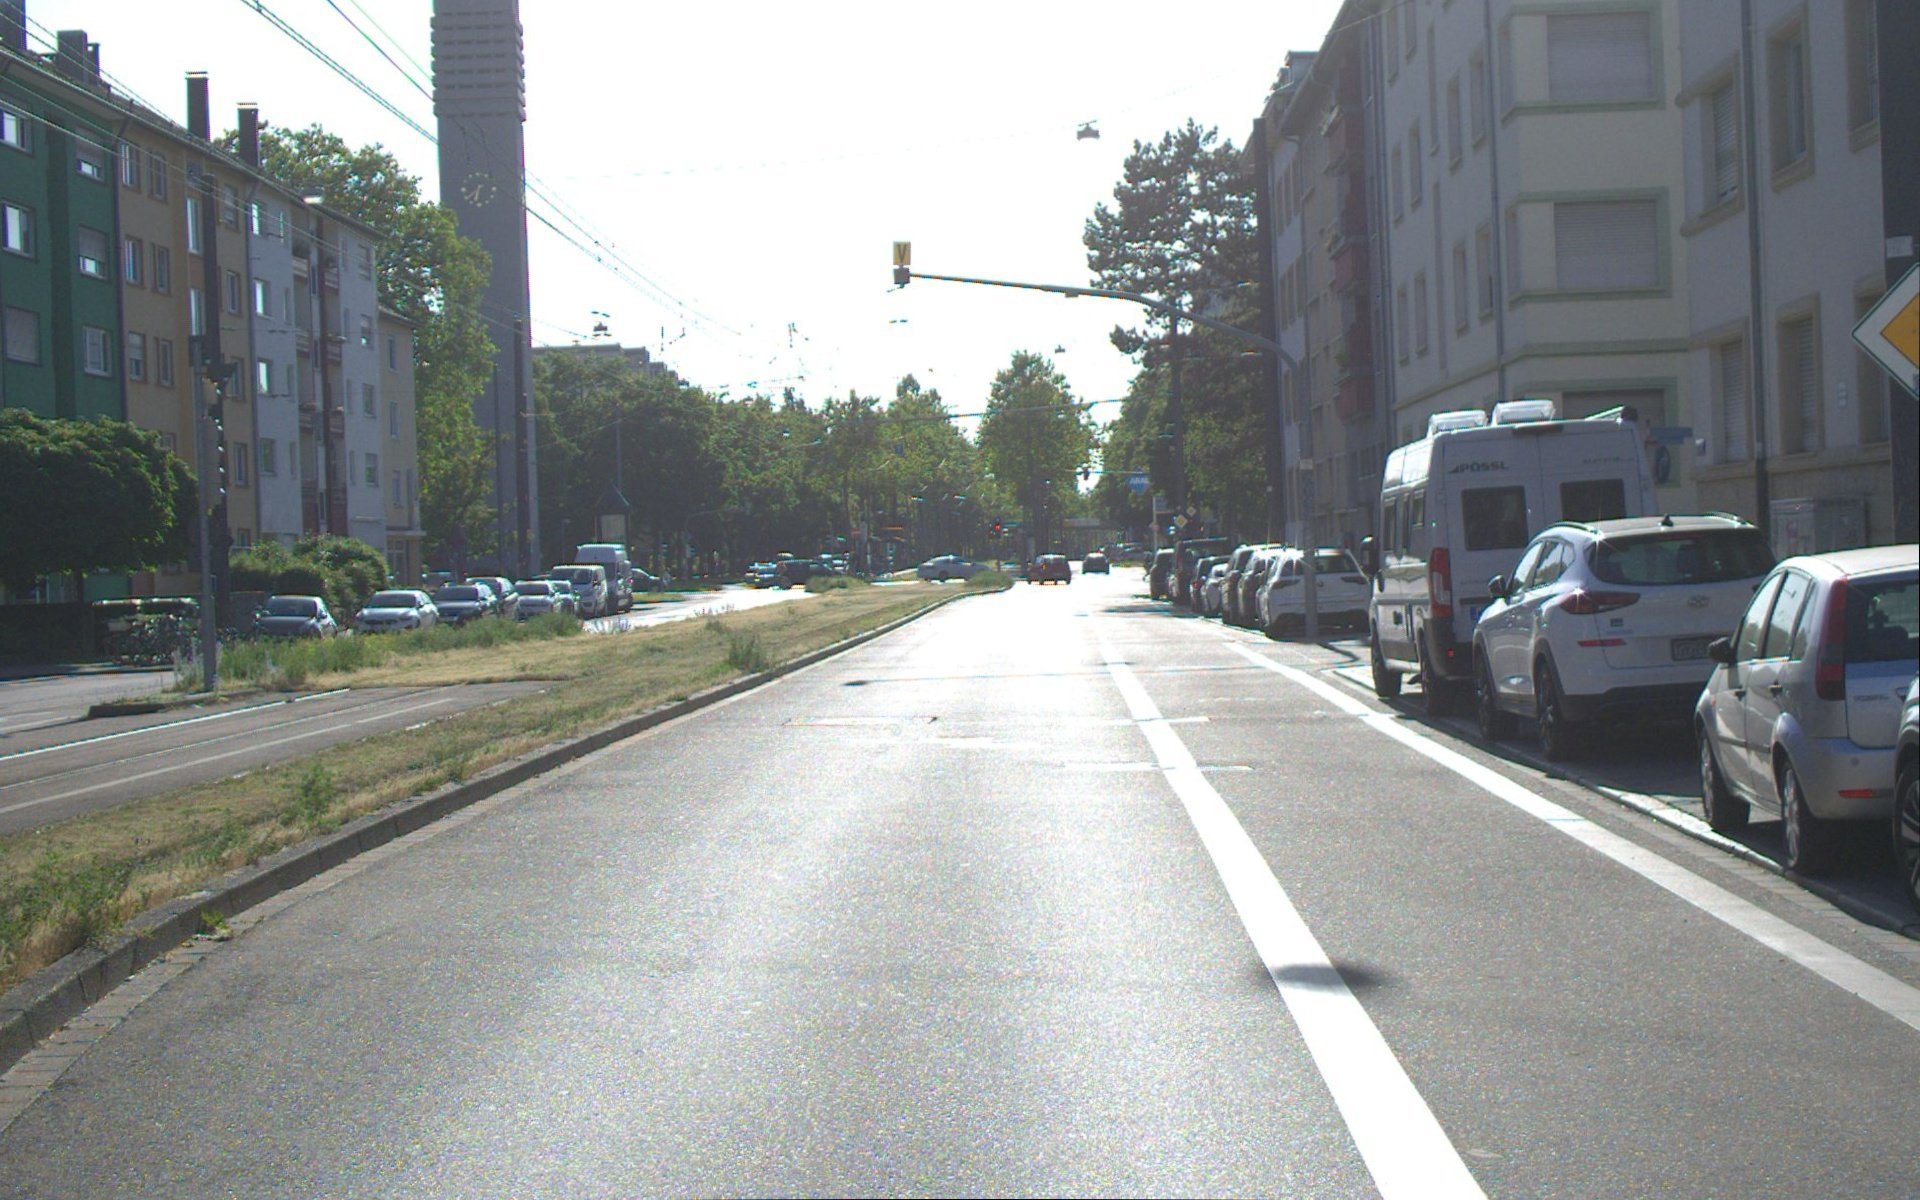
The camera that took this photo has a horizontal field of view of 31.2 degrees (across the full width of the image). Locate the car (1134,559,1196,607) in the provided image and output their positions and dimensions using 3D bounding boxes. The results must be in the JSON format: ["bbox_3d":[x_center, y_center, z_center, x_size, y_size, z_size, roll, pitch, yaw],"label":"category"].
[{"bbox_3d":[7.090,-0.572,119.216,1.897,1.482,3.739,-2,-1,1],"label":"car"}]

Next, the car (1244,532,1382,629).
[{"bbox_3d":[5.986,-0.309,58.664,1.897,1.482,3.739,-2,-1,-1],"label":"car"}]

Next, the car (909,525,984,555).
[{"bbox_3d":[-0.803,-3.560,204.665,3.987,1.678,2.000,-1,-2,-29],"label":"car"}]

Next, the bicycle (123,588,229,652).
[{"bbox_3d":[-17.211,0.451,75.547,2.127,1.320,0.897,-2,-2,-4],"label":"bicycle"}]

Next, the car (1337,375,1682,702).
[{"bbox_3d":[4.978,-0.554,32.035,2.158,2.642,5.643,-4,1,0],"label":"car"}]

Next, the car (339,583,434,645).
[{"bbox_3d":[-16.157,0.411,97.002,1.993,1.576,4.000,-2,-1,0],"label":"car"}]

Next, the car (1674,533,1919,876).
[{"bbox_3d":[4.512,0.417,16.663,1.502,1.421,3.453,-4,1,4],"label":"car"}]

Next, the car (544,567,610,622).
[{"bbox_3d":[-14.902,-0.208,133.891,1.993,1.958,4.751,-2,-1,0],"label":"car"}]

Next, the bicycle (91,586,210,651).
[{"bbox_3d":[-17.343,0.401,73.702,2.308,1.300,0.913,-2,-2,-2],"label":"bicycle"}]

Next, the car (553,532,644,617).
[{"bbox_3d":[-14.965,-1.007,142.677,2.985,3.227,6.793,-2,-1,0],"label":"car"}]

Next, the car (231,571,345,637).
[{"bbox_3d":[-16.427,0.125,84.184,1.993,1.448,4.000,-2,-1,-1],"label":"car"}]

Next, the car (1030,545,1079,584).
[{"bbox_3d":[4.821,-1.807,176.208,1.993,1.777,4.000,-2,-1,-6],"label":"car"}]

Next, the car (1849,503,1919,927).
[{"bbox_3d":[4.520,0.412,11.872,1.661,1.638,4.184,-4,1,-1],"label":"car"}]

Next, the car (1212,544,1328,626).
[{"bbox_3d":[6.209,-0.278,69.236,1.897,1.482,3.739,-2,-1,-1],"label":"car"}]

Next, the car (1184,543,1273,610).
[{"bbox_3d":[6.648,-0.569,85.431,1.897,1.482,3.739,-2,-1,1],"label":"car"}]

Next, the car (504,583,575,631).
[{"bbox_3d":[-14.912,0.254,122.061,1.993,1.548,4.000,-2,-1,0],"label":"car"}]

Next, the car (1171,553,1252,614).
[{"bbox_3d":[6.797,-0.436,93.258,1.897,1.482,3.739,-2,-1,1],"label":"car"}]

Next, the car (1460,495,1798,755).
[{"bbox_3d":[4.739,0.143,24.862,1.590,1.629,3.918,-4,1,0],"label":"car"}]

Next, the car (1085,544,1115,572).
[{"bbox_3d":[9.358,-2.790,229.784,1.843,1.681,3.999,-2,-1,1],"label":"car"}]

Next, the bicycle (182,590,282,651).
[{"bbox_3d":[-16.503,0.466,77.898,2.127,1.320,0.897,-2,-2,-15],"label":"bicycle"}]

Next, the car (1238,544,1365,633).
[{"bbox_3d":[6.309,-0.187,63.916,1.897,1.482,3.739,-2,-1,-1],"label":"car"}]

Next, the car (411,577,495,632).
[{"bbox_3d":[-15.798,0.148,107.207,1.993,1.548,4.000,-2,-1,0],"label":"car"}]

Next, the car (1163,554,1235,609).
[{"bbox_3d":[7.212,-0.542,103.916,1.897,1.482,3.739,-2,-1,1],"label":"car"}]
